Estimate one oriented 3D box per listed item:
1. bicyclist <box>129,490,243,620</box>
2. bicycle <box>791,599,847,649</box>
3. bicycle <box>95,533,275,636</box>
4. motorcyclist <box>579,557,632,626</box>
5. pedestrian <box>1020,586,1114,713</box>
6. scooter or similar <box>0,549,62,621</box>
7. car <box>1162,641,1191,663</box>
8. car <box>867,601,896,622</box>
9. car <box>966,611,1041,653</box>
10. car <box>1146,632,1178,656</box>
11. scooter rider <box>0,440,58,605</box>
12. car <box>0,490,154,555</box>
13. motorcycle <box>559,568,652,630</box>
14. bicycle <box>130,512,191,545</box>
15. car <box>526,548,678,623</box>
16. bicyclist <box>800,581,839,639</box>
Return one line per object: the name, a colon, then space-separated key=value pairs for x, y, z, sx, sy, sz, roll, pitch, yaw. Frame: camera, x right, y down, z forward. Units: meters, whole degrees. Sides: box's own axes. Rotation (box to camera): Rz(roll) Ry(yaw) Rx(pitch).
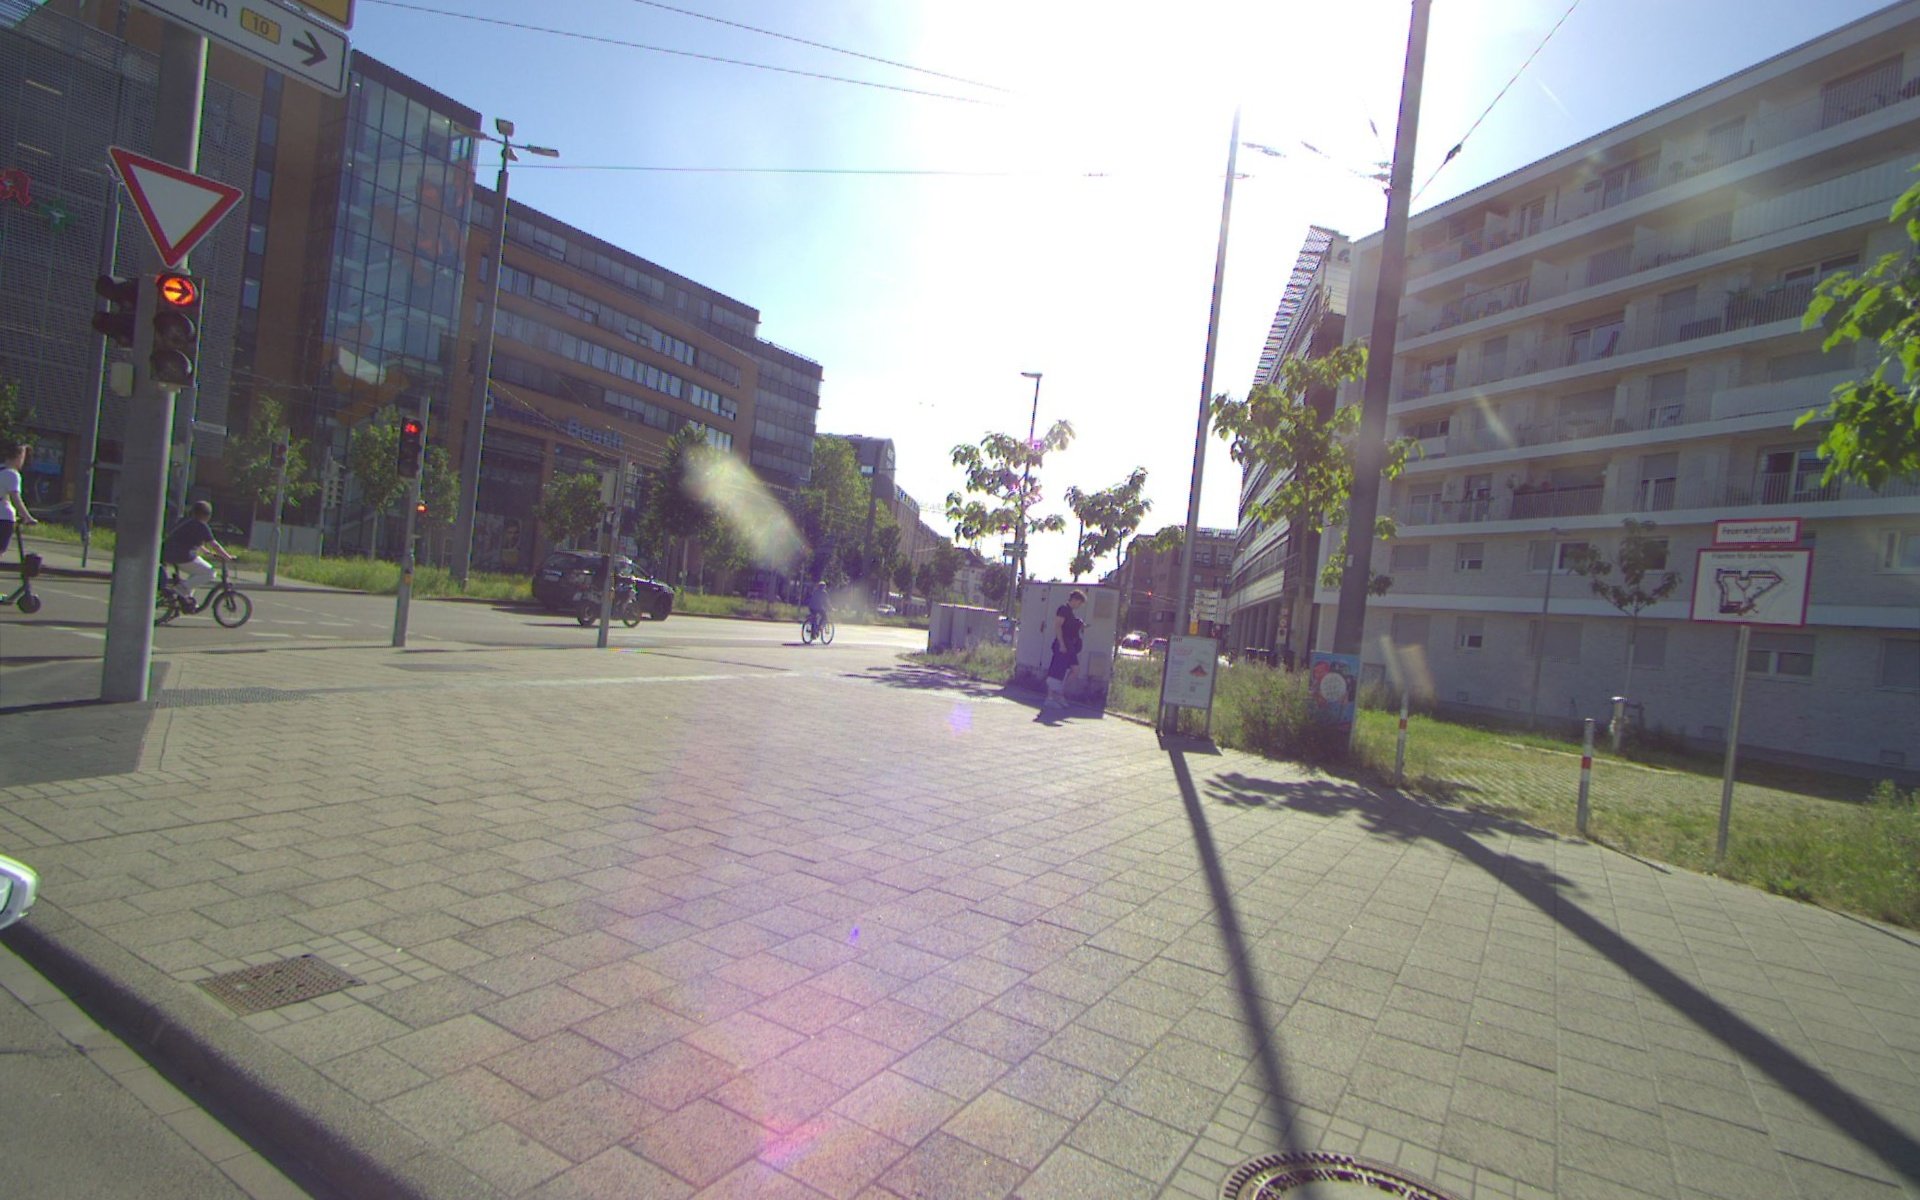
bicyclist: x=-10.295 y=-0.575 z=13.407 sx=0.563 sy=1.585 sz=0.886 roll=7 pitch=-1 yaw=22
bicycle: x=-4.099 y=0.712 z=29.398 sx=0.576 sy=1.271 sz=2.042 roll=7 pitch=-2 yaw=22
bicycle: x=-10.314 y=-0.171 z=13.473 sx=0.576 sy=1.150 sz=1.761 roll=7 pitch=-2 yaw=22
motorcyclist: x=-8.623 y=-0.205 z=24.498 sx=0.576 sy=1.554 sz=0.902 roll=7 pitch=0 yaw=26
pedestrian: x=1.560 y=0.718 z=14.807 sx=0.970 sy=1.719 sz=0.842 roll=6 pitch=2 yaw=-16
scooter or similar: x=-11.553 y=-0.218 z=11.881 sx=0.603 sy=0.795 sz=1.213 roll=7 pitch=-2 yaw=22
car: x=17.917 y=4.323 z=83.258 sx=1.677 sy=1.515 sz=4.281 roll=7 pitch=-2 yaw=19
car: x=-8.522 y=1.300 z=109.489 sx=1.806 sy=1.661 sz=4.314 roll=7 pitch=-4 yaw=12
car: x=2.099 y=1.544 z=47.363 sx=1.680 sy=1.515 sz=4.275 roll=7 pitch=-2 yaw=29
car: x=15.561 y=3.429 z=77.472 sx=1.677 sy=1.515 sz=4.281 roll=7 pitch=-2 yaw=19
scooter rider: x=-11.453 y=-0.937 z=11.927 sx=0.563 sy=1.894 sz=0.787 roll=7 pitch=-1 yaw=22
car: x=-32.070 y=-2.768 z=36.323 sx=1.810 sy=1.484 sz=4.161 roll=6 pitch=-5 yaw=30
motorcycle: x=-8.613 y=0.009 z=24.567 sx=0.576 sy=1.297 sz=2.270 roll=7 pitch=-1 yaw=26
bicycle: x=-40.519 y=-3.609 z=51.029 sx=0.595 sy=1.310 sz=2.260 roll=7 pitch=-2 yaw=30
car: x=-10.019 y=-0.350 z=28.484 sx=1.616 sy=1.665 sz=4.200 roll=7 pitch=-1 yaw=20
bicyclist: x=-4.090 y=0.293 z=29.295 sx=0.563 sy=1.585 sz=0.886 roll=7 pitch=-1 yaw=22
